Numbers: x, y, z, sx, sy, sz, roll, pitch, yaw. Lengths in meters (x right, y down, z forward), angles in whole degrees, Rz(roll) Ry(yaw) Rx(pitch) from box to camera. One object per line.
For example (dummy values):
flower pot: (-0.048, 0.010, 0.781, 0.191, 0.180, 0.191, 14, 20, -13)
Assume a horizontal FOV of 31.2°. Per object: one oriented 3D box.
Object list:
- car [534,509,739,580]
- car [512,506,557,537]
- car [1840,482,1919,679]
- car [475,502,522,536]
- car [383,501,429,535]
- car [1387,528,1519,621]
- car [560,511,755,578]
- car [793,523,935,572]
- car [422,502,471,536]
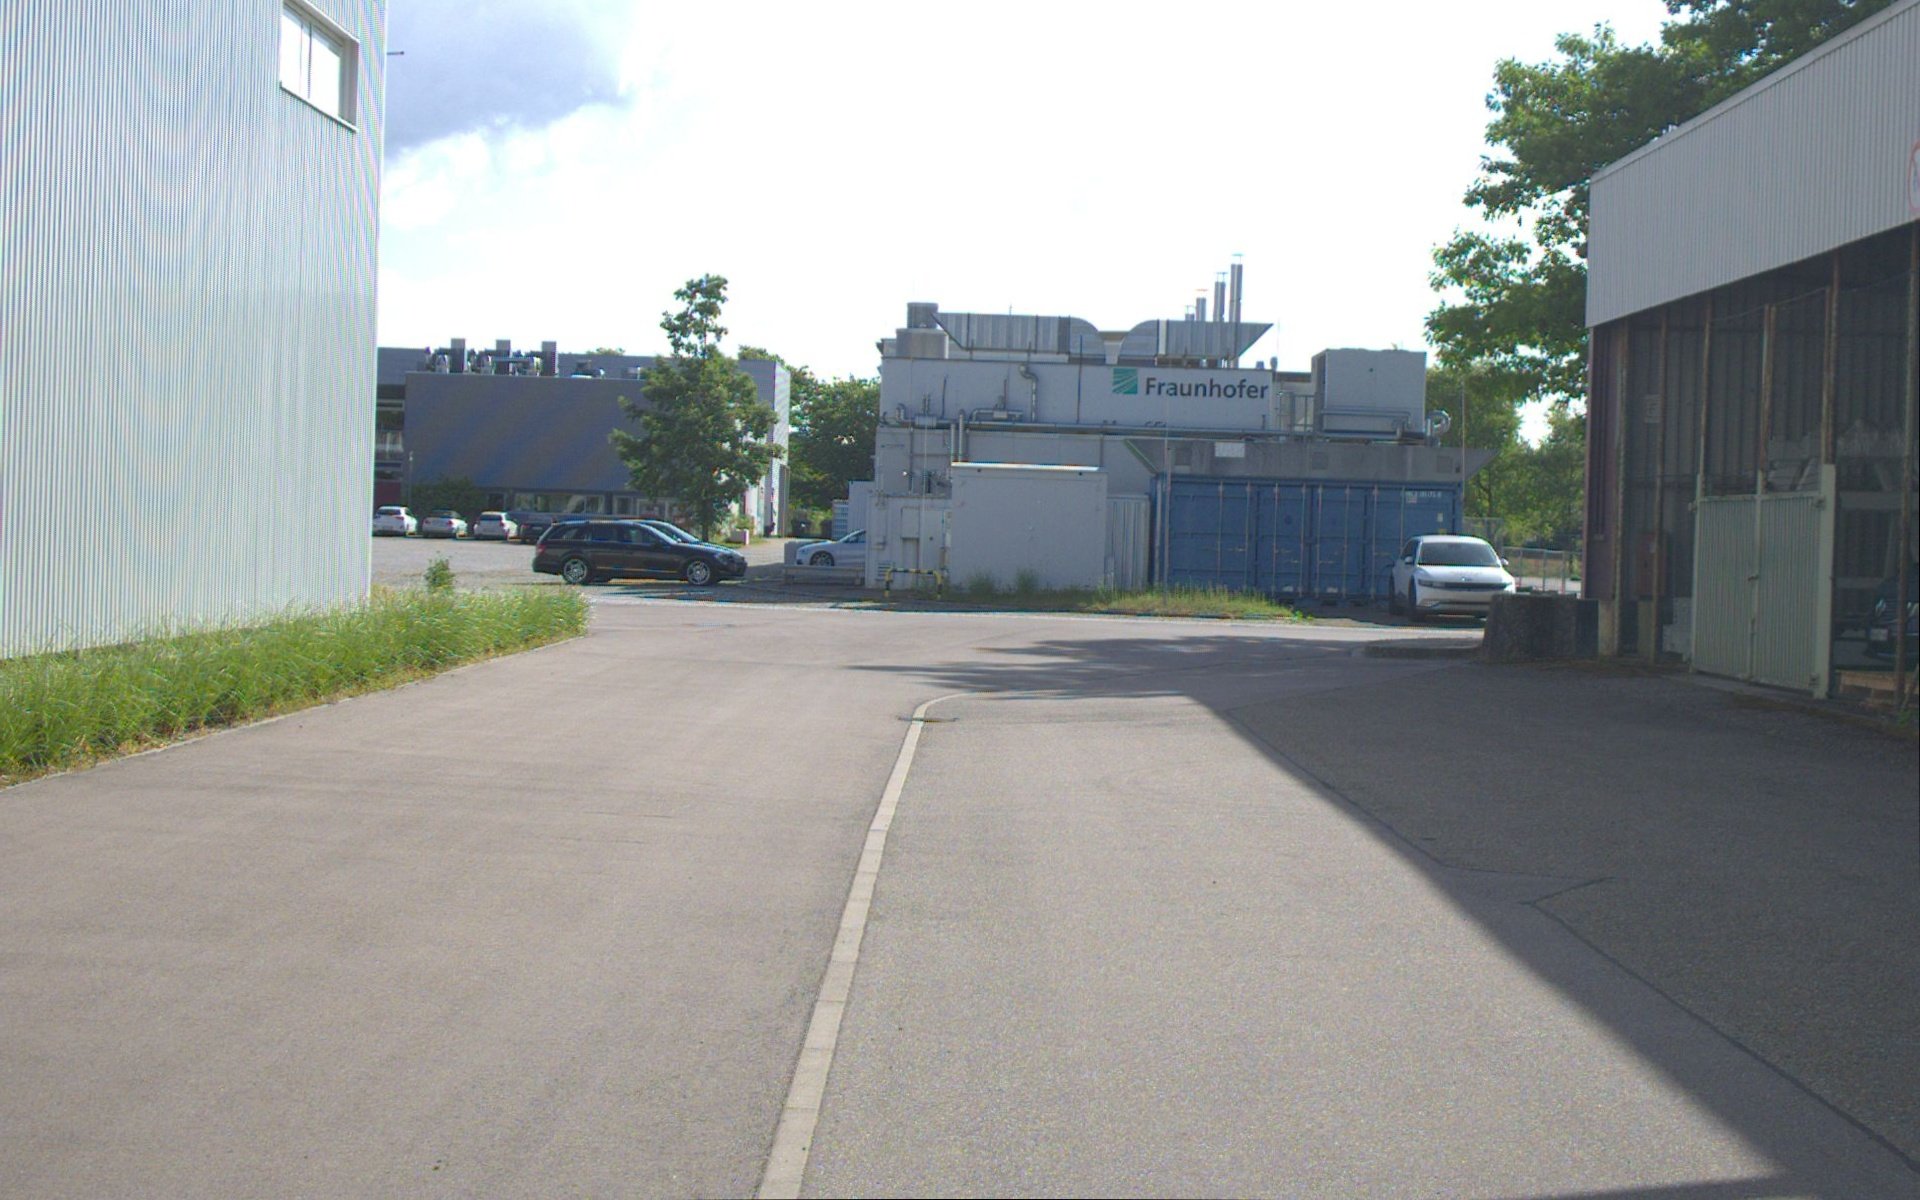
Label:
car: (-7.302, -1.258, 77.834, 4.447, 1.525, 1.824, 1, 1, 0)
car: (-21.447, -3.958, 173.348, 1.858, 1.489, 4.030, 0, 1, -1)
car: (11.569, -0.150, 34.663, 4.767, 1.909, 2.000, 1, 1, -7)
car: (-23.509, -4.104, 175.209, 1.965, 1.706, 4.030, 0, 1, -1)
car: (-28.227, -4.160, 175.232, 1.798, 1.706, 4.048, 0, 1, -1)
car: (9.300, -0.512, 65.157, 1.979, 1.597, 4.377, 0, 2, 2)
car: (-7.143, -1.309, 81.478, 4.447, 1.525, 1.824, 1, 1, 0)
car: (-2.928, -1.620, 105.671, 4.302, 1.452, 1.824, 1, 1, 0)
car: (-26.105, -4.096, 174.816, 1.976, 1.672, 4.000, 0, 1, -1)
